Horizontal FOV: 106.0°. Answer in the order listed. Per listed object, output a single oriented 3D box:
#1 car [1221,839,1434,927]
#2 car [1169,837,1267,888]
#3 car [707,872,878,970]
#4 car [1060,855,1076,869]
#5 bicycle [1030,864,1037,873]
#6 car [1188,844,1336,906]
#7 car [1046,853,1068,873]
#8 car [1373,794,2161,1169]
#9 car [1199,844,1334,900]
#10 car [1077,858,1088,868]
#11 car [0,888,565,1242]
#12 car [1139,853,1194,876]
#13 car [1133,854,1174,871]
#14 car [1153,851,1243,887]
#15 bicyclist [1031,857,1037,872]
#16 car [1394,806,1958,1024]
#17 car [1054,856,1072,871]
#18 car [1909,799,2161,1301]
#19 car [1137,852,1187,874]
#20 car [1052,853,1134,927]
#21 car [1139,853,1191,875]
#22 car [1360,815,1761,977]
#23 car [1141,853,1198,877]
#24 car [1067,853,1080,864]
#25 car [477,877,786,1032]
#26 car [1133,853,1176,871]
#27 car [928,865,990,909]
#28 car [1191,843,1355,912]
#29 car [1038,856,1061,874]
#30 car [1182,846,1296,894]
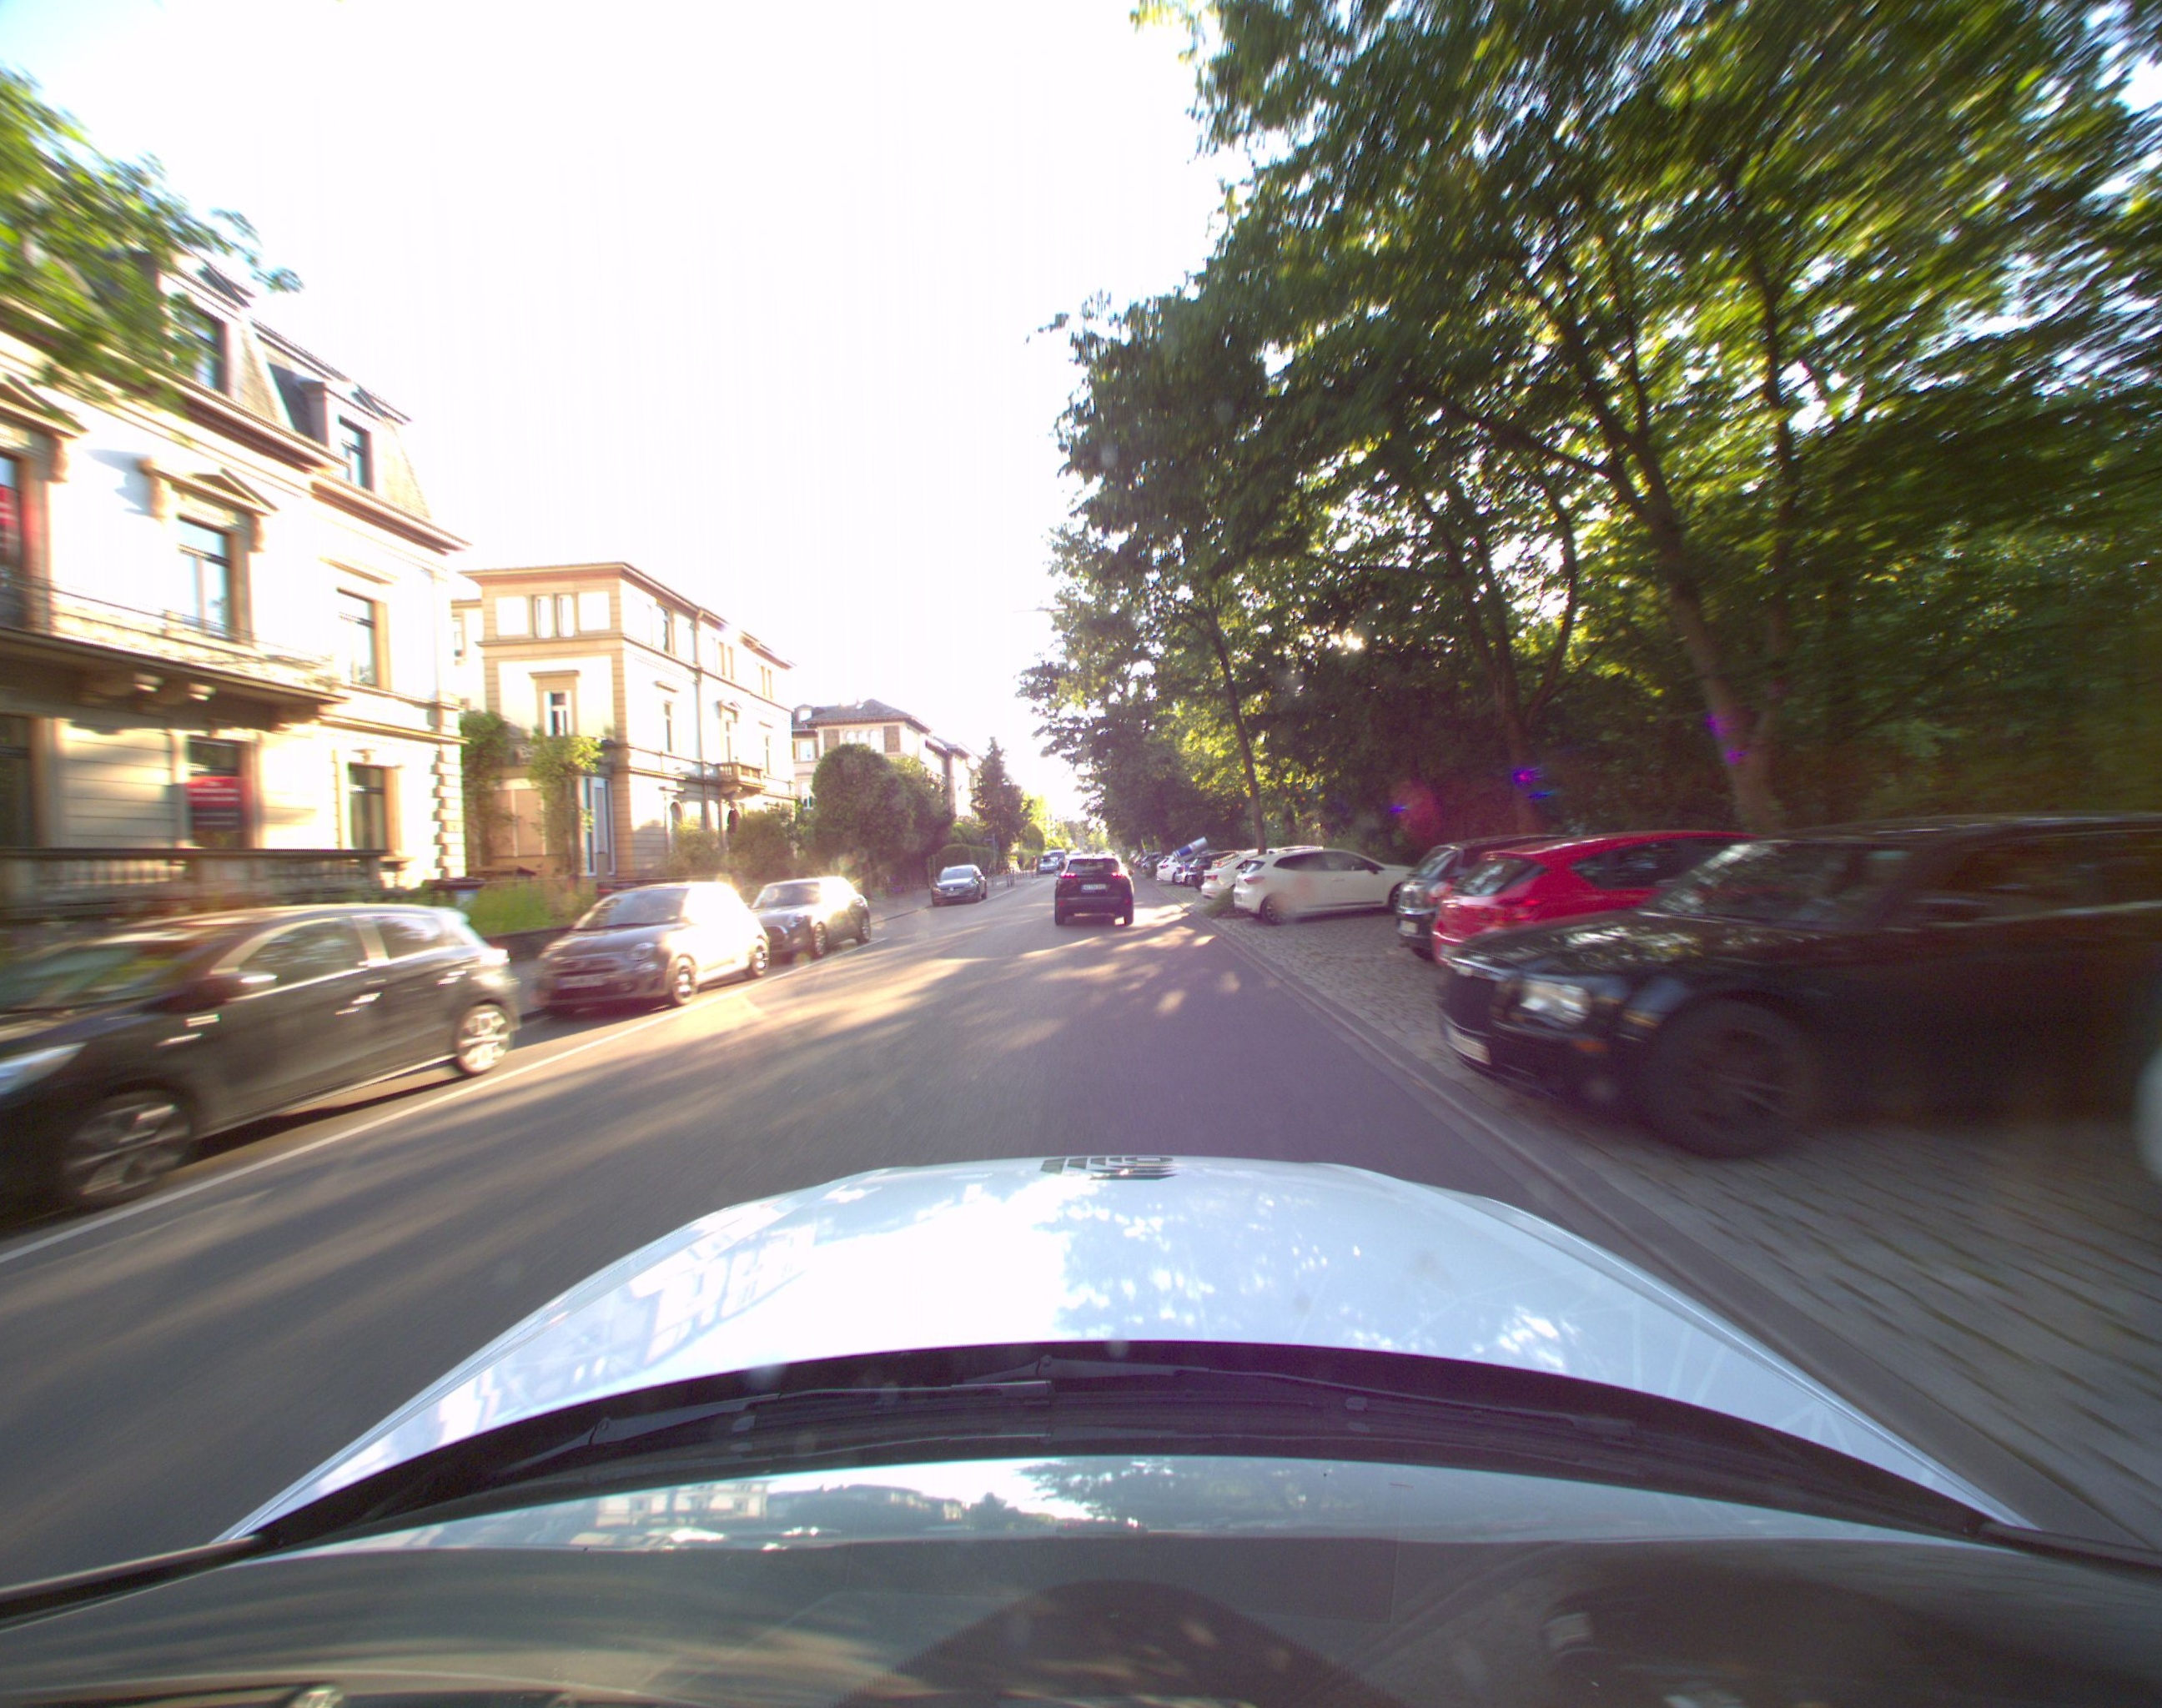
[{"bbox_3d":[5.018,0.572,16.941,3.799,1.448,1.824,-4,-1,-3],"label":"car"},{"bbox_3d":[6.103,0.382,36.588,3.978,2.089,1.756,-2,0,-4],"label":"car"},{"bbox_3d":[-5.277,1.148,15.502,1.607,1.466,4.038,-3,0,2],"label":"car"},{"bbox_3d":[-1.812,1.138,115.737,1.986,1.816,4.001,-3,0,1],"label":"car"},{"bbox_3d":[-5.582,1.687,96.486,0.690,1.015,2.047,-2,0,-1],"label":"bicycle"},{"bbox_3d":[5.375,0.620,24.482,3.978,1.624,1.756,-3,0,-4],"label":"car"},{"bbox_3d":[-2.526,0.973,88.085,1.985,2.013,4.003,-3,0,3],"label":"car"},{"bbox_3d":[4.197,0.538,4.703,4.230,1.448,2.021,-4,-1,-1],"label":"car"},{"bbox_3d":[6.088,0.588,27.020,3.978,1.624,1.756,-3,0,-4],"label":"car"},{"bbox_3d":[0.281,1.819,157.260,1.986,1.816,4.001,-3,0,1],"label":"car"},{"bbox_3d":[-5.667,1.091,5.467,1.607,1.466,4.038,-4,0,2],"label":"car"},{"bbox_3d":[6.449,0.758,61.549,3.971,1.526,1.759,-3,0,2],"label":"car"},{"bbox_3d":[7.137,0.812,80.668,3.971,1.526,1.759,-3,0,2],"label":"car"},{"bbox_3d":[5.596,0.712,39.279,3.978,1.526,1.756,-3,0,-4],"label":"car"},{"bbox_3d":[-5.578,1.266,96.588,0.691,1.792,0.772,-2,-1,-1],"label":"bicyclist"},{"bbox_3d":[5.174,0.485,7.485,3.799,1.448,1.875,-4,-1,-3],"label":"car"},{"bbox_3d":[-2.201,1.146,99.956,1.986,1.768,4.001,-3,0,1],"label":"car"},{"bbox_3d":[4.969,0.442,2.003,3.790,1.448,1.828,-4,-1,4],"label":"car"},{"bbox_3d":[6.578,0.732,66.656,3.971,1.623,1.759,-3,0,2],"label":"car"},{"bbox_3d":[0.225,0.766,19.512,1.766,1.568,4.107,0,0,-1],"label":"car"},{"bbox_3d":[6.597,0.773,64.414,3.971,1.526,1.759,-3,0,2],"label":"car"},{"bbox_3d":[5.675,0.470,9.984,3.799,1.510,1.824,-4,-1,-3],"label":"car"},{"bbox_3d":[6.370,0.790,59.018,3.971,1.526,1.759,-3,0,2],"label":"car"},{"bbox_3d":[-1.241,0.716,138.818,1.986,1.816,4.001,-3,0,1],"label":"car"},{"bbox_3d":[-5.523,1.127,10.683,1.607,1.466,4.038,-3,0,2],"label":"car"},{"bbox_3d":[7.009,0.805,78.235,3.971,1.526,1.759,-3,0,2],"label":"car"},{"bbox_3d":[-4.745,1.256,32.163,1.746,1.413,3.764,-5,0,0],"label":"car"},{"bbox_3d":[5.169,0.605,22.213,3.978,1.624,1.756,-3,0,-4],"label":"car"},{"bbox_3d":[-2.984,1.066,77.394,1.892,1.574,4.001,-3,0,1],"label":"car"},{"bbox_3d":[6.072,0.601,31.582,3.978,1.624,1.756,-3,0,-4],"label":"car"}]
